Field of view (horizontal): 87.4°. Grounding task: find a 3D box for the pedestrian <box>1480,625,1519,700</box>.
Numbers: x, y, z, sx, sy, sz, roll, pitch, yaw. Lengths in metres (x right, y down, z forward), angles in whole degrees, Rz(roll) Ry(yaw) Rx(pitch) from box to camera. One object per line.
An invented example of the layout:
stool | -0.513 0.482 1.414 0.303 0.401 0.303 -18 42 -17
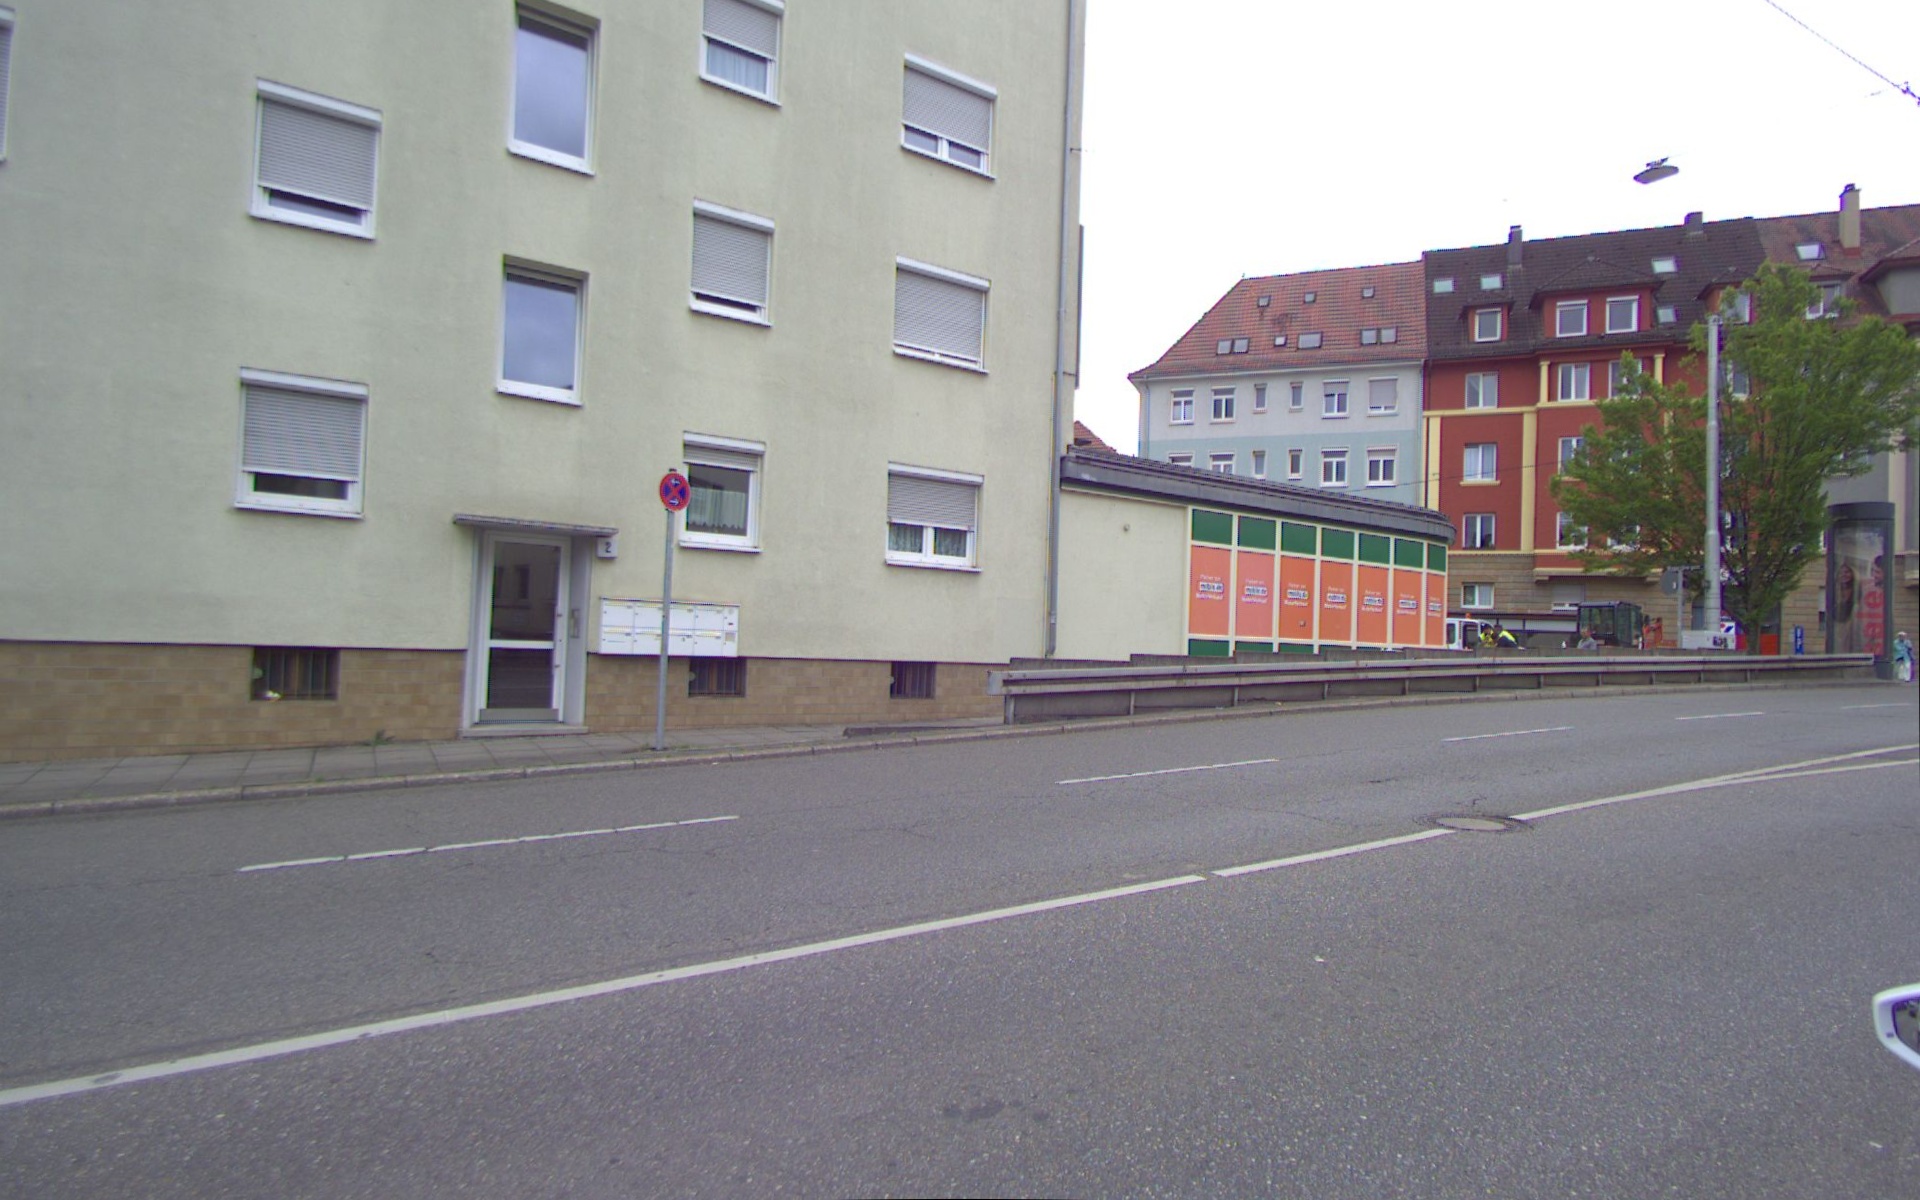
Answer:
pedestrian | 13.329 1.531 24.845 0.605 1.785 0.573 2 1 5

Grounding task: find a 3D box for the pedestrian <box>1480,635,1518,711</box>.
pedestrian | 12.654 1.696 23.589 0.539 1.722 0.557 1 1 -41

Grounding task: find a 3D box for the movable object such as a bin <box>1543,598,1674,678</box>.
movable object such as a bin | 16.612 0.931 25.651 3.972 1.795 1.884 1 1 -43

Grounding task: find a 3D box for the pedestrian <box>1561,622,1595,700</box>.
pedestrian | 14.359 1.411 23.348 0.533 1.753 0.593 3 1 26

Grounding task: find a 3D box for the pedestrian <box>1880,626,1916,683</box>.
pedestrian | 27.125 1.577 29.054 0.480 1.588 0.586 1 1 -30

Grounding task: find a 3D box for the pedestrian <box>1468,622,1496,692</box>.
pedestrian | 13.455 1.467 25.889 0.467 1.753 0.543 2 1 14
